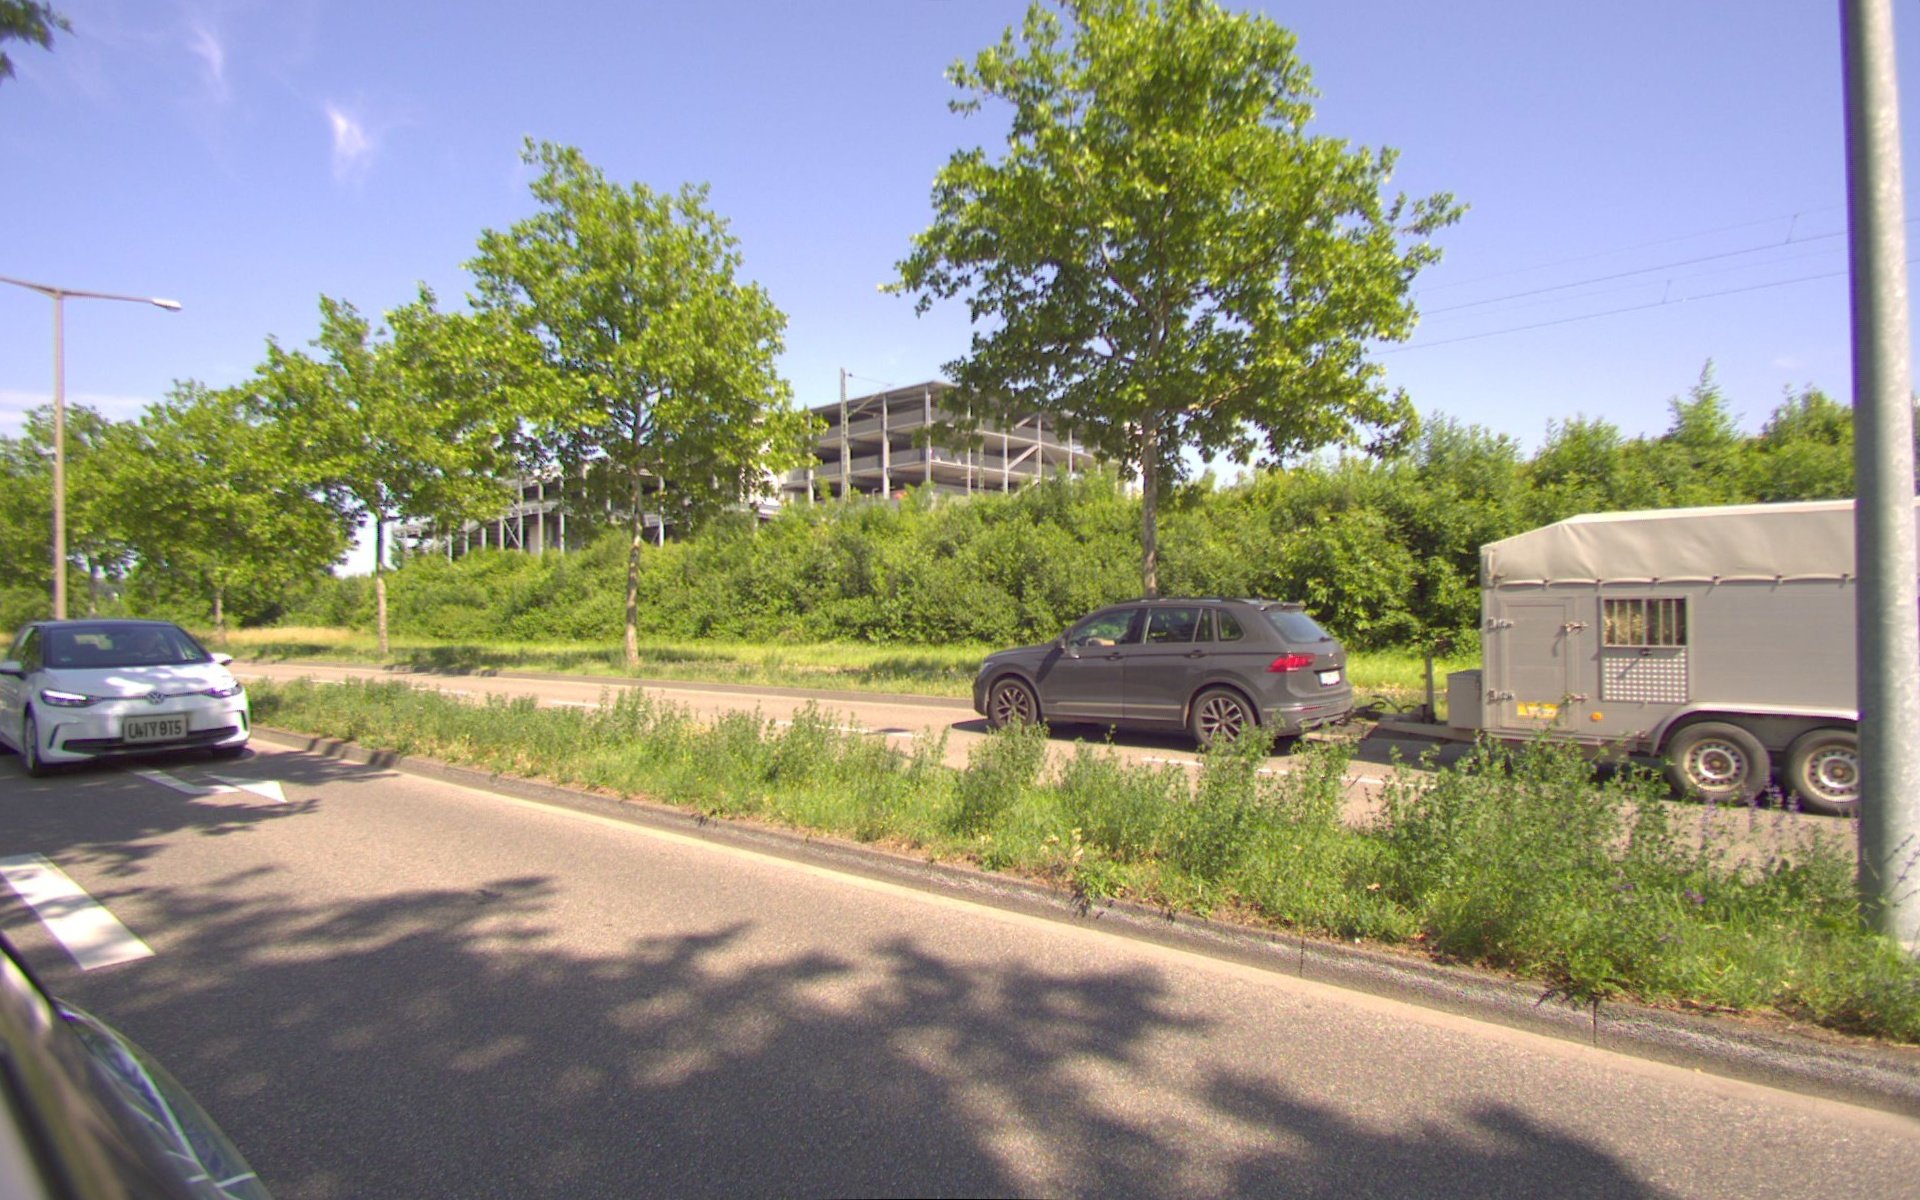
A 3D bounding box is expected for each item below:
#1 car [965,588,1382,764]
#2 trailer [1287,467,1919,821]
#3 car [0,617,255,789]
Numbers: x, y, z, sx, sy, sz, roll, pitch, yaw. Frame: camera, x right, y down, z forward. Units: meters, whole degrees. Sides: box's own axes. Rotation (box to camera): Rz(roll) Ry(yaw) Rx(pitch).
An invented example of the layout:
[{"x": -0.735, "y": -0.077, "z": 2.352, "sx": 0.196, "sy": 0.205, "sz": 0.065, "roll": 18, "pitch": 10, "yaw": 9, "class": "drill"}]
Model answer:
[{"x": 2.258, "y": 0.742, "z": 11.476, "sx": 4.359, "sy": 1.634, "sz": 1.697, "roll": -1, "pitch": -1, "yaw": 41, "class": "car"}, {"x": 5.846, "y": 0.309, "z": 8.368, "sx": 5.535, "sy": 2.282, "sz": 2.285, "roll": -1, "pitch": -1, "yaw": 41, "class": "trailer"}, {"x": -9.571, "y": 0.994, "z": 11.256, "sx": 4.204, "sy": 1.533, "sz": 1.801, "roll": -2, "pitch": -1, "yaw": 40, "class": "car"}]
